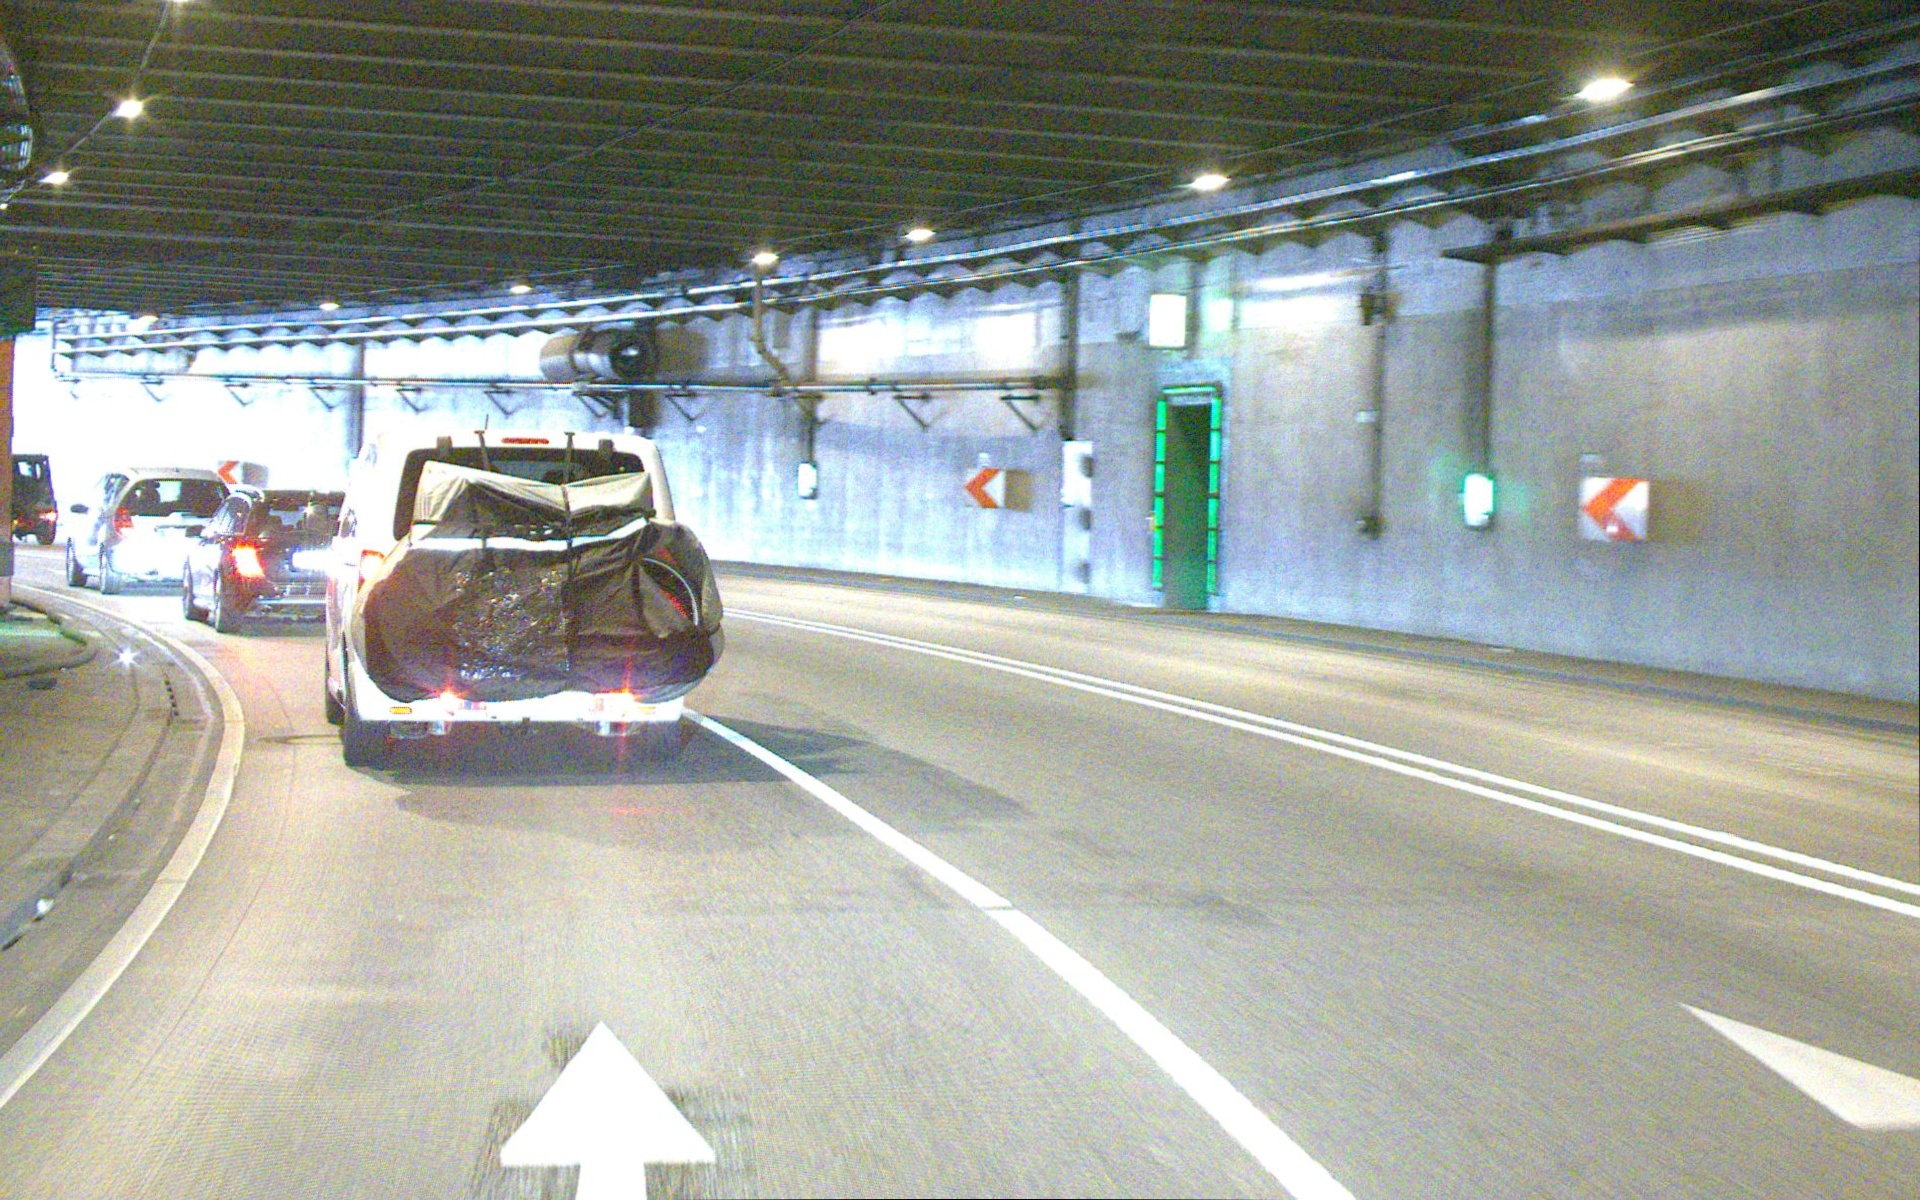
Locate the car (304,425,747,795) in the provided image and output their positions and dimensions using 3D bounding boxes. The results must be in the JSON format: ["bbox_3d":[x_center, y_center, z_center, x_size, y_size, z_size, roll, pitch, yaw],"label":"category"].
[{"bbox_3d":[-2.667,-0.050,19.894,1.993,1.841,5.303,0,2,-13],"label":"car"}]

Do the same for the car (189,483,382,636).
[{"bbox_3d":[-6.706,-0.440,33.971,1.602,1.390,3.278,-1,3,-15],"label":"car"}]

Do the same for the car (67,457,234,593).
[{"bbox_3d":[-10.209,-0.944,43.225,1.602,1.588,3.357,1,1,-20],"label":"car"}]

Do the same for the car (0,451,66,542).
[{"bbox_3d":[-17.578,-1.909,63.729,1.602,1.624,3.357,1,1,-21],"label":"car"}]
